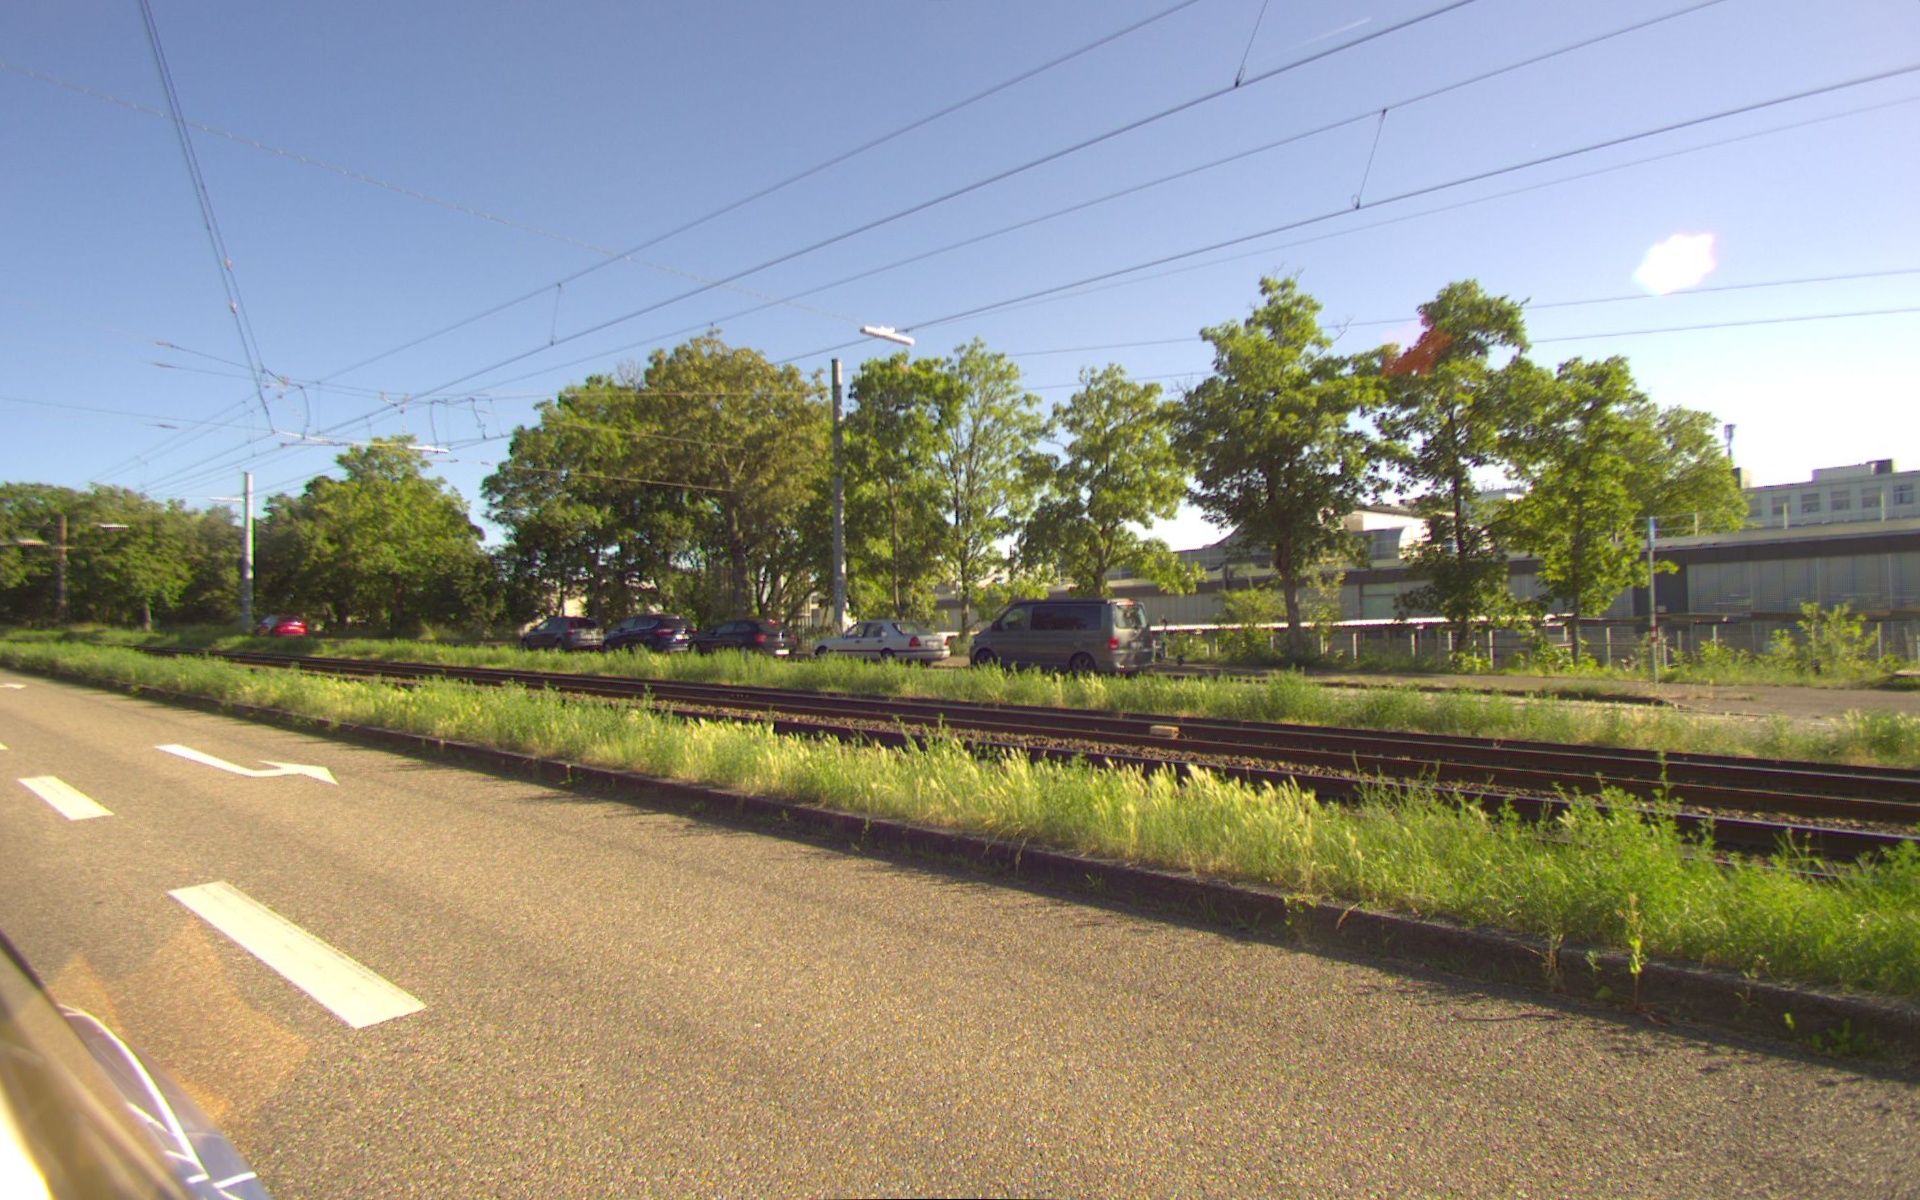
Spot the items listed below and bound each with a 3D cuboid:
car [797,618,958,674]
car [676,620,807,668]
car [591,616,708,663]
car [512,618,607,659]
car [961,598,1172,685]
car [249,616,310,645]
[{"bbox_3d":[-2.459,1.295,29.198,4.692,1.448,1.908,-2,-1,41],"label":"car"},{"bbox_3d":[-7.236,1.410,33.302,4.412,1.448,1.973,-2,-1,41],"label":"car"},{"bbox_3d":[-11.323,1.414,36.767,4.430,1.586,1.974,-2,-1,39],"label":"car"},{"bbox_3d":[-16.343,1.532,41.212,4.323,1.505,1.718,-1,0,39],"label":"car"},{"bbox_3d":[2.524,0.973,24.787,4.791,1.905,2.173,-2,-1,43],"label":"car"},{"bbox_3d":[-42.198,1.891,62.760,4.462,1.715,1.984,-1,-1,40],"label":"car"}]
